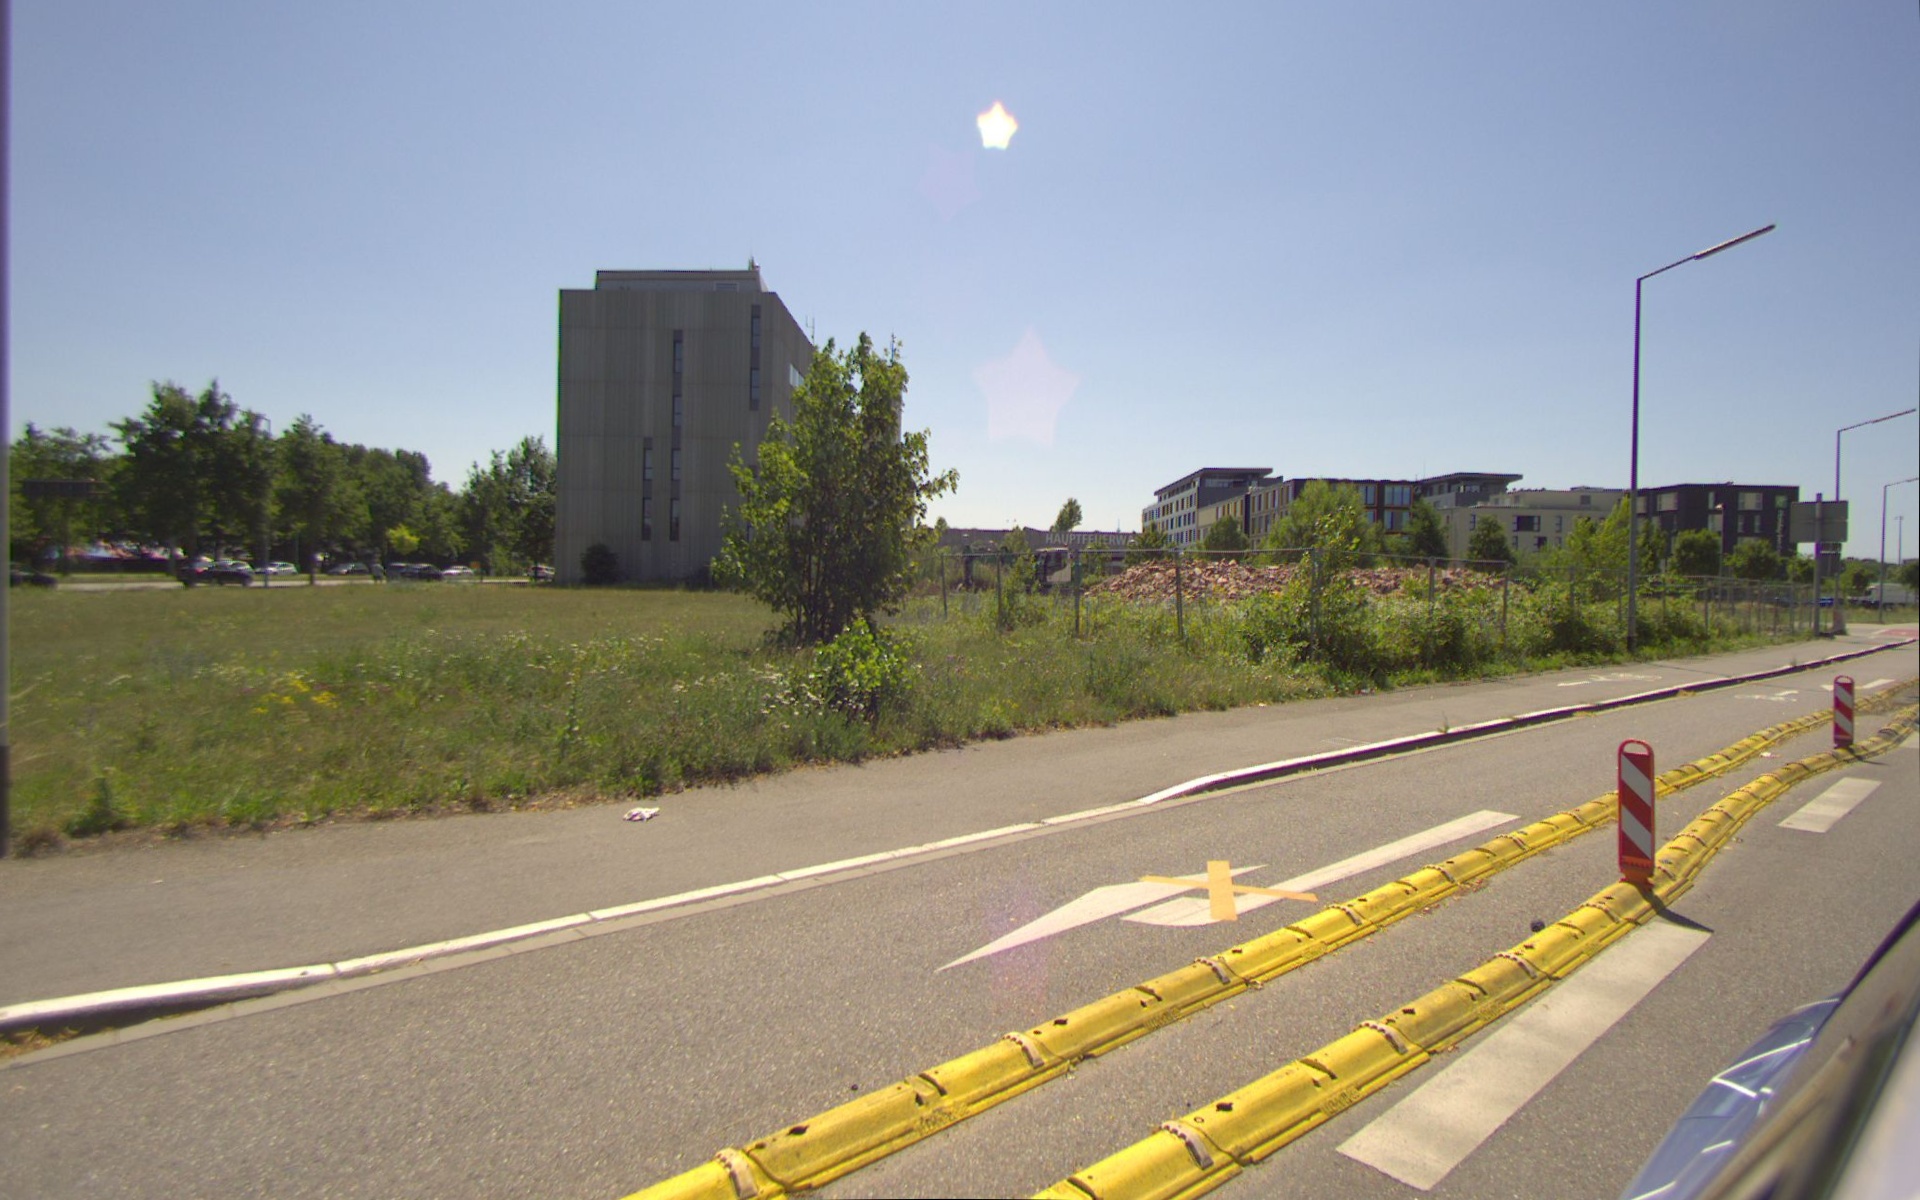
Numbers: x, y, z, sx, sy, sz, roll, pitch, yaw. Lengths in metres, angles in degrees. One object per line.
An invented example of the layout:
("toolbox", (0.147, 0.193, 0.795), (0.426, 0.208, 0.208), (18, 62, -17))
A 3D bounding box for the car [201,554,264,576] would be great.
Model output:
("car", (-58.660, -2.795, 81.707), (1.814, 1.612, 4.443), (0, 0, 1))

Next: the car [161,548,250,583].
("car", (-45.583, -2.049, 61.275), (1.961, 1.961, 4.645), (0, 0, -1))

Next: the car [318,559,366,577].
("car", (-58.348, -2.983, 95.684), (1.814, 1.612, 4.443), (0, 0, 1))

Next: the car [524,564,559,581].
("car", (-45.875, -2.966, 111.060), (1.962, 1.757, 4.645), (0, 0, -1))

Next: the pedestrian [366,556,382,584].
("pedestrian", (-33.931, -1.738, 58.586), (0.652, 1.611, 0.557), (0, 0, -15))

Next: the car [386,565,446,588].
("car", (-42.156, -1.805, 78.520), (1.964, 1.757, 4.639), (0, 0, 4))

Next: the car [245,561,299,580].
("car", (-61.868, -2.676, 91.108), (1.814, 1.611, 4.444), (1, 1, 1))

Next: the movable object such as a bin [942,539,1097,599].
("movable object such as a bin", (3.153, -1.589, 53.315), (7.537, 2.952, 3.242), (-1, 0, -26))
